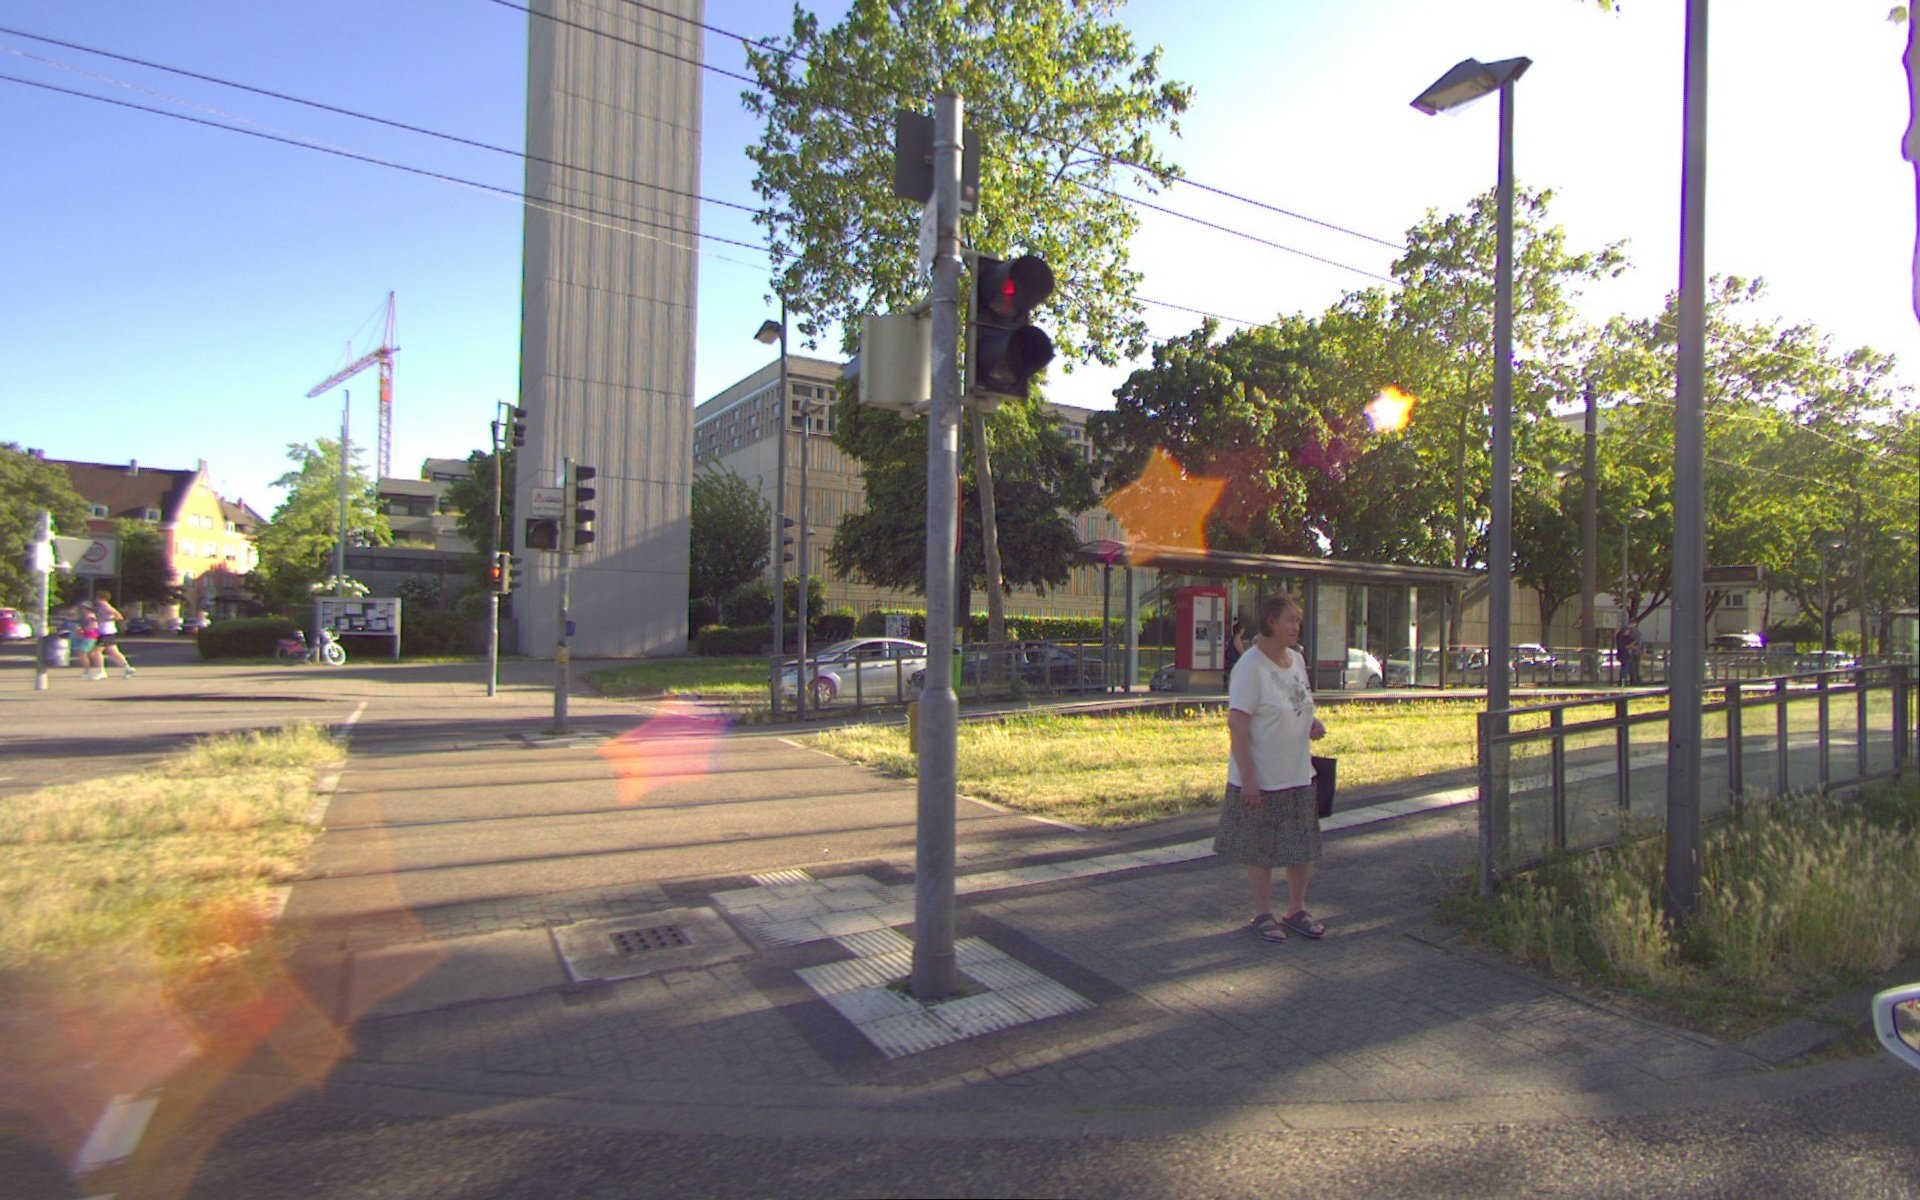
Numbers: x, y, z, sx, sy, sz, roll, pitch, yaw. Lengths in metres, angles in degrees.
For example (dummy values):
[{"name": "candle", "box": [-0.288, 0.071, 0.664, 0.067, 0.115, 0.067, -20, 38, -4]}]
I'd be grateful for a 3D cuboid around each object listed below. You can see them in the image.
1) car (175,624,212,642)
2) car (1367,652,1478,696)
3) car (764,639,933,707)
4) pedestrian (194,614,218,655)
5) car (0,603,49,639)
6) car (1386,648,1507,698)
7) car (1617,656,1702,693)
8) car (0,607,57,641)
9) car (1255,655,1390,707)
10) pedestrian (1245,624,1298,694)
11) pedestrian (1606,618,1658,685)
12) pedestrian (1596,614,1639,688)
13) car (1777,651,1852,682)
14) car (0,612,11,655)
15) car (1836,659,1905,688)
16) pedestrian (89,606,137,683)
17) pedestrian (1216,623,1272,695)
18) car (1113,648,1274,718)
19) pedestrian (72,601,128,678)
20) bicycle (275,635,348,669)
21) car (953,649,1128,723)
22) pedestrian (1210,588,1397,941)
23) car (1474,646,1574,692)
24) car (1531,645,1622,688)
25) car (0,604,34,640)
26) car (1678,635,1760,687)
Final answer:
[{"name": "car", "box": [-68.795, 2.938, 90.202, 1.976, 1.575, 4.494, 2, -2, -30]}, {"name": "car", "box": [16.326, 2.588, 35.425, 3.883, 1.463, 1.587, 2, -2, -30]}, {"name": "car", "box": [-2.377, 1.555, 21.678, 3.376, 1.342, 1.319, 2, -2, -30]}, {"name": "pedestrian", "box": [-28.129, 1.290, 37.473, 0.540, 1.486, 0.863, 2, -2, -28]}, {"name": "car", "box": [-57.657, 1.226, 60.321, 3.955, 2.040, 1.983, 2, -1, -31]}, {"name": "car", "box": [15.604, 2.316, 32.153, 3.883, 1.463, 1.587, 2, -2, -30]}, {"name": "car", "box": [30.812, 3.248, 44.221, 3.974, 1.508, 1.586, 2, -2, -31]}, {"name": "car", "box": [-58.845, 1.455, 62.230, 3.955, 2.040, 1.983, 2, -1, -31]}, {"name": "car", "box": [10.620, 2.341, 29.366, 3.952, 1.371, 1.544, 2, -2, -30]}, {"name": "pedestrian", "box": [6.171, 1.165, 19.914, 0.725, 1.359, 0.691, 2, -2, -28]}, {"name": "pedestrian", "box": [17.667, 1.343, 26.414, 0.745, 1.712, 0.879, 2, -1, -29]}, {"name": "pedestrian", "box": [17.017, 1.315, 26.013, 0.629, 1.892, 0.717, 2, -1, -29]}, {"name": "car", "box": [44.641, 3.462, 52.465, 3.884, 1.566, 1.707, 2, -2, -28]}, {"name": "car", "box": [-39.582, 1.320, 39.888, 1.766, 1.737, 3.969, 2, -2, -29]}, {"name": "car", "box": [52.542, 4.230, 57.959, 4.149, 1.566, 1.707, 2, -2, -29]}, {"name": "pedestrian", "box": [-19.262, 1.010, 22.853, 0.741, 1.703, 0.590, 2, -2, -36]}, {"name": "pedestrian", "box": [5.480, 1.134, 19.425, 0.761, 1.359, 0.732, 2, -2, -16]}, {"name": "car", "box": [5.360, 1.849, 22.979, 3.498, 1.446, 1.596, 2, -2, -32]}, {"name": "pedestrian", "box": [-20.038, 0.926, 23.422, 0.872, 1.745, 0.590, 2, -2, -36]}, {"name": "bicycle", "box": [-18.226, 1.466, 28.269, 1.681, 0.940, 0.443, 2, -2, -34]}, {"name": "car", "box": [1.465, 1.530, 18.148, 2.930, 1.220, 1.319, 2, -3, -29]}, {"name": "pedestrian", "box": [1.647, 0.733, 4.839, 0.534, 1.549, 0.654, 2, -2, -37]}, {"name": "car", "box": [21.716, 2.631, 38.642, 3.883, 1.654, 1.587, 2, -2, -30]}, {"name": "car", "box": [25.345, 2.725, 41.257, 3.885, 1.657, 1.586, 2, -2, -31]}, {"name": "car", "box": [-56.627, 1.222, 58.184, 3.955, 2.040, 1.983, 2, -1, -31]}, {"name": "car", "box": [35.195, 2.799, 46.563, 3.888, 2.292, 1.705, 2, -2, -31]}]
